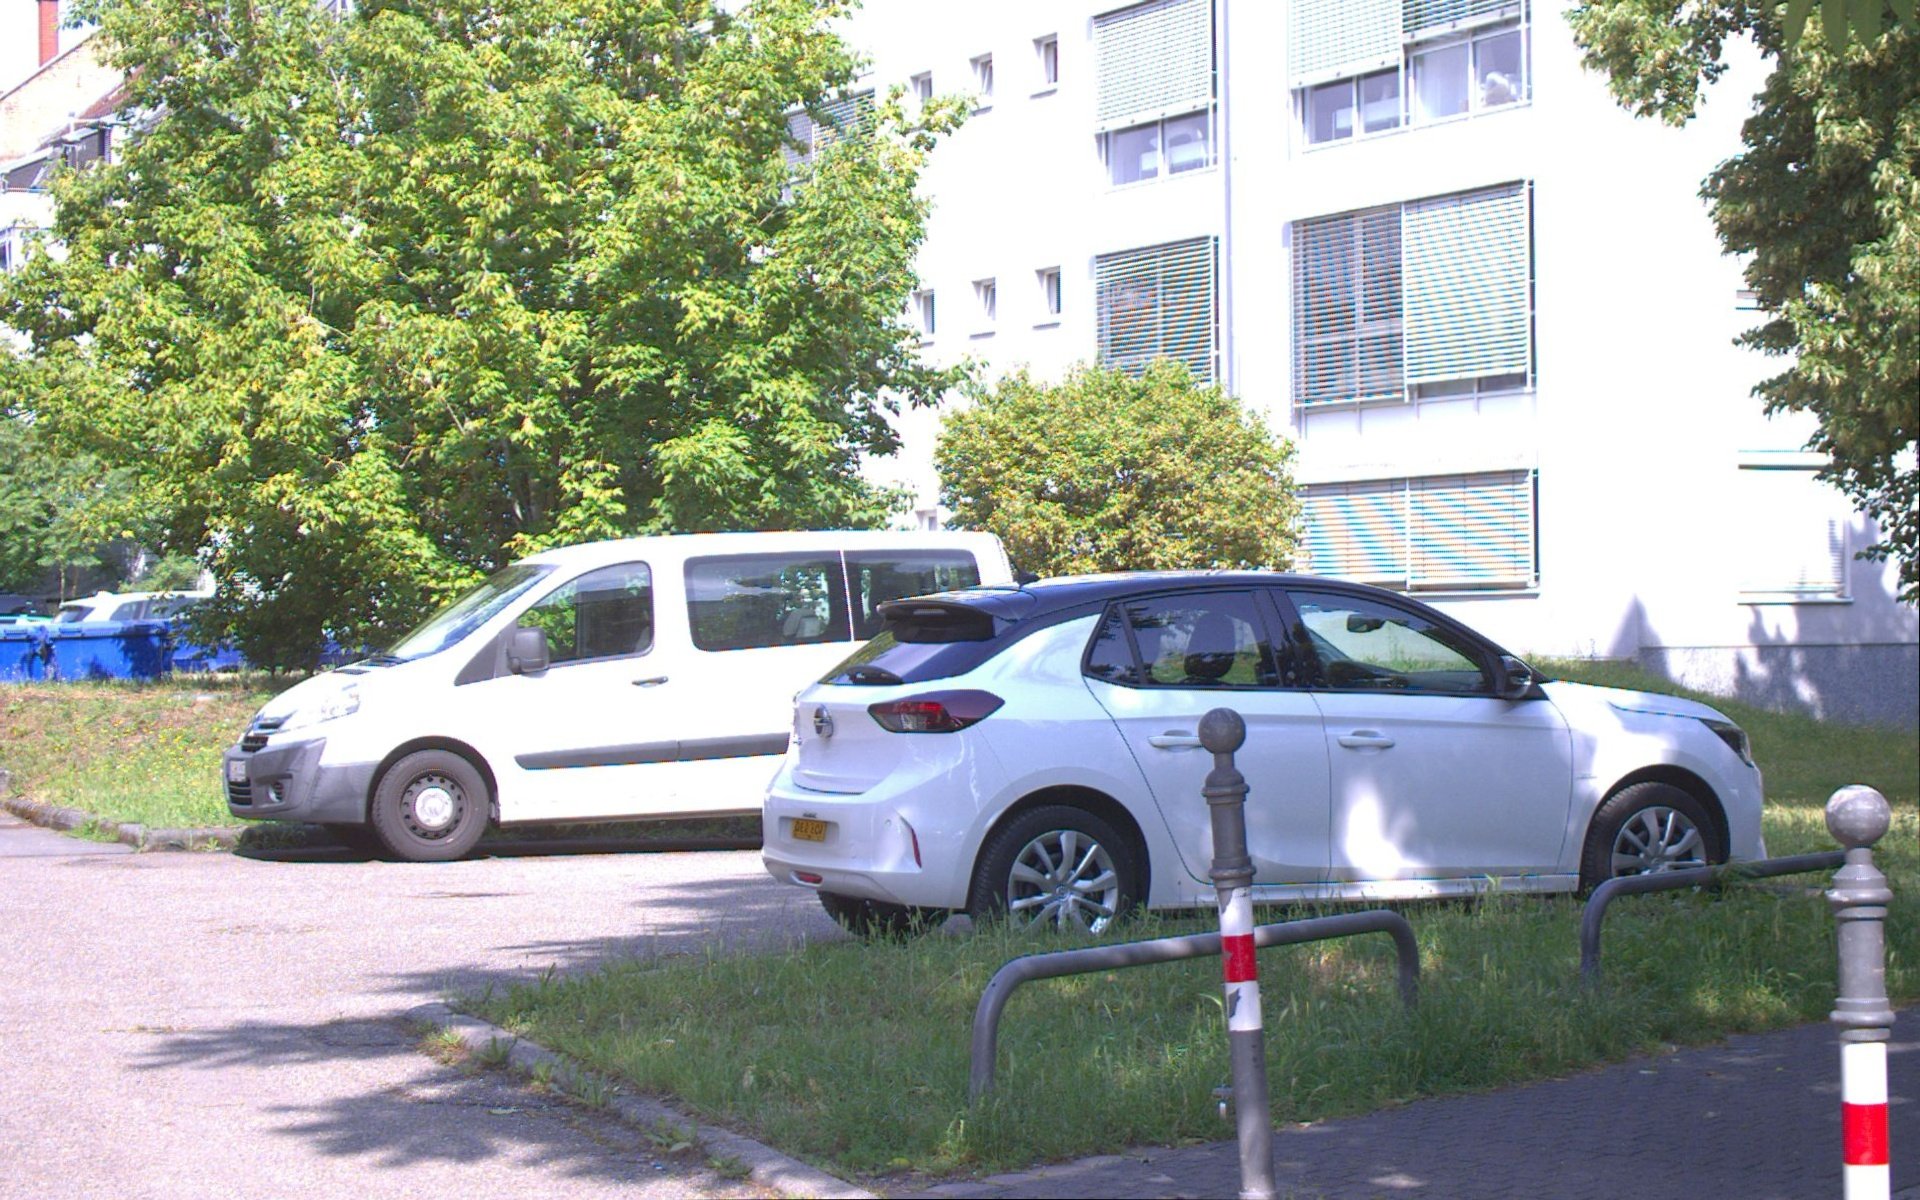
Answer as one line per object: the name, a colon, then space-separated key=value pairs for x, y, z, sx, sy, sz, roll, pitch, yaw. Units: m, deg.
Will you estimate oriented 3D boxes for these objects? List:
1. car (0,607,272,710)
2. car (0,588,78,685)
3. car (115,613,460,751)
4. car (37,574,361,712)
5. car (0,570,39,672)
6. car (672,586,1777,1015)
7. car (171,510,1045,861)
car: x=-13.263 y=0.916 z=55.306 sx=3.986 sy=1.439 sz=1.629 roll=-1 pitch=5 yaw=-28
car: x=-17.827 y=0.645 z=60.866 sx=3.986 sy=1.568 sz=1.629 roll=0 pitch=5 yaw=-28
car: x=-8.961 y=1.094 z=45.851 sx=4.112 sy=1.600 sz=1.755 roll=3 pitch=2 yaw=-28
car: x=-10.603 y=0.582 z=47.910 sx=3.986 sy=1.739 sz=1.950 roll=0 pitch=3 yaw=-29
car: x=-19.256 y=0.305 z=63.482 sx=3.986 sy=1.811 sz=1.664 roll=3 pitch=2 yaw=-29
car: x=1.024 y=0.682 z=13.375 sx=3.903 sy=1.415 sz=1.759 roll=0 pitch=2 yaw=-24
car: x=-2.152 y=0.500 z=21.029 sx=4.937 sy=1.958 sz=2.000 roll=1 pitch=0 yaw=-22
